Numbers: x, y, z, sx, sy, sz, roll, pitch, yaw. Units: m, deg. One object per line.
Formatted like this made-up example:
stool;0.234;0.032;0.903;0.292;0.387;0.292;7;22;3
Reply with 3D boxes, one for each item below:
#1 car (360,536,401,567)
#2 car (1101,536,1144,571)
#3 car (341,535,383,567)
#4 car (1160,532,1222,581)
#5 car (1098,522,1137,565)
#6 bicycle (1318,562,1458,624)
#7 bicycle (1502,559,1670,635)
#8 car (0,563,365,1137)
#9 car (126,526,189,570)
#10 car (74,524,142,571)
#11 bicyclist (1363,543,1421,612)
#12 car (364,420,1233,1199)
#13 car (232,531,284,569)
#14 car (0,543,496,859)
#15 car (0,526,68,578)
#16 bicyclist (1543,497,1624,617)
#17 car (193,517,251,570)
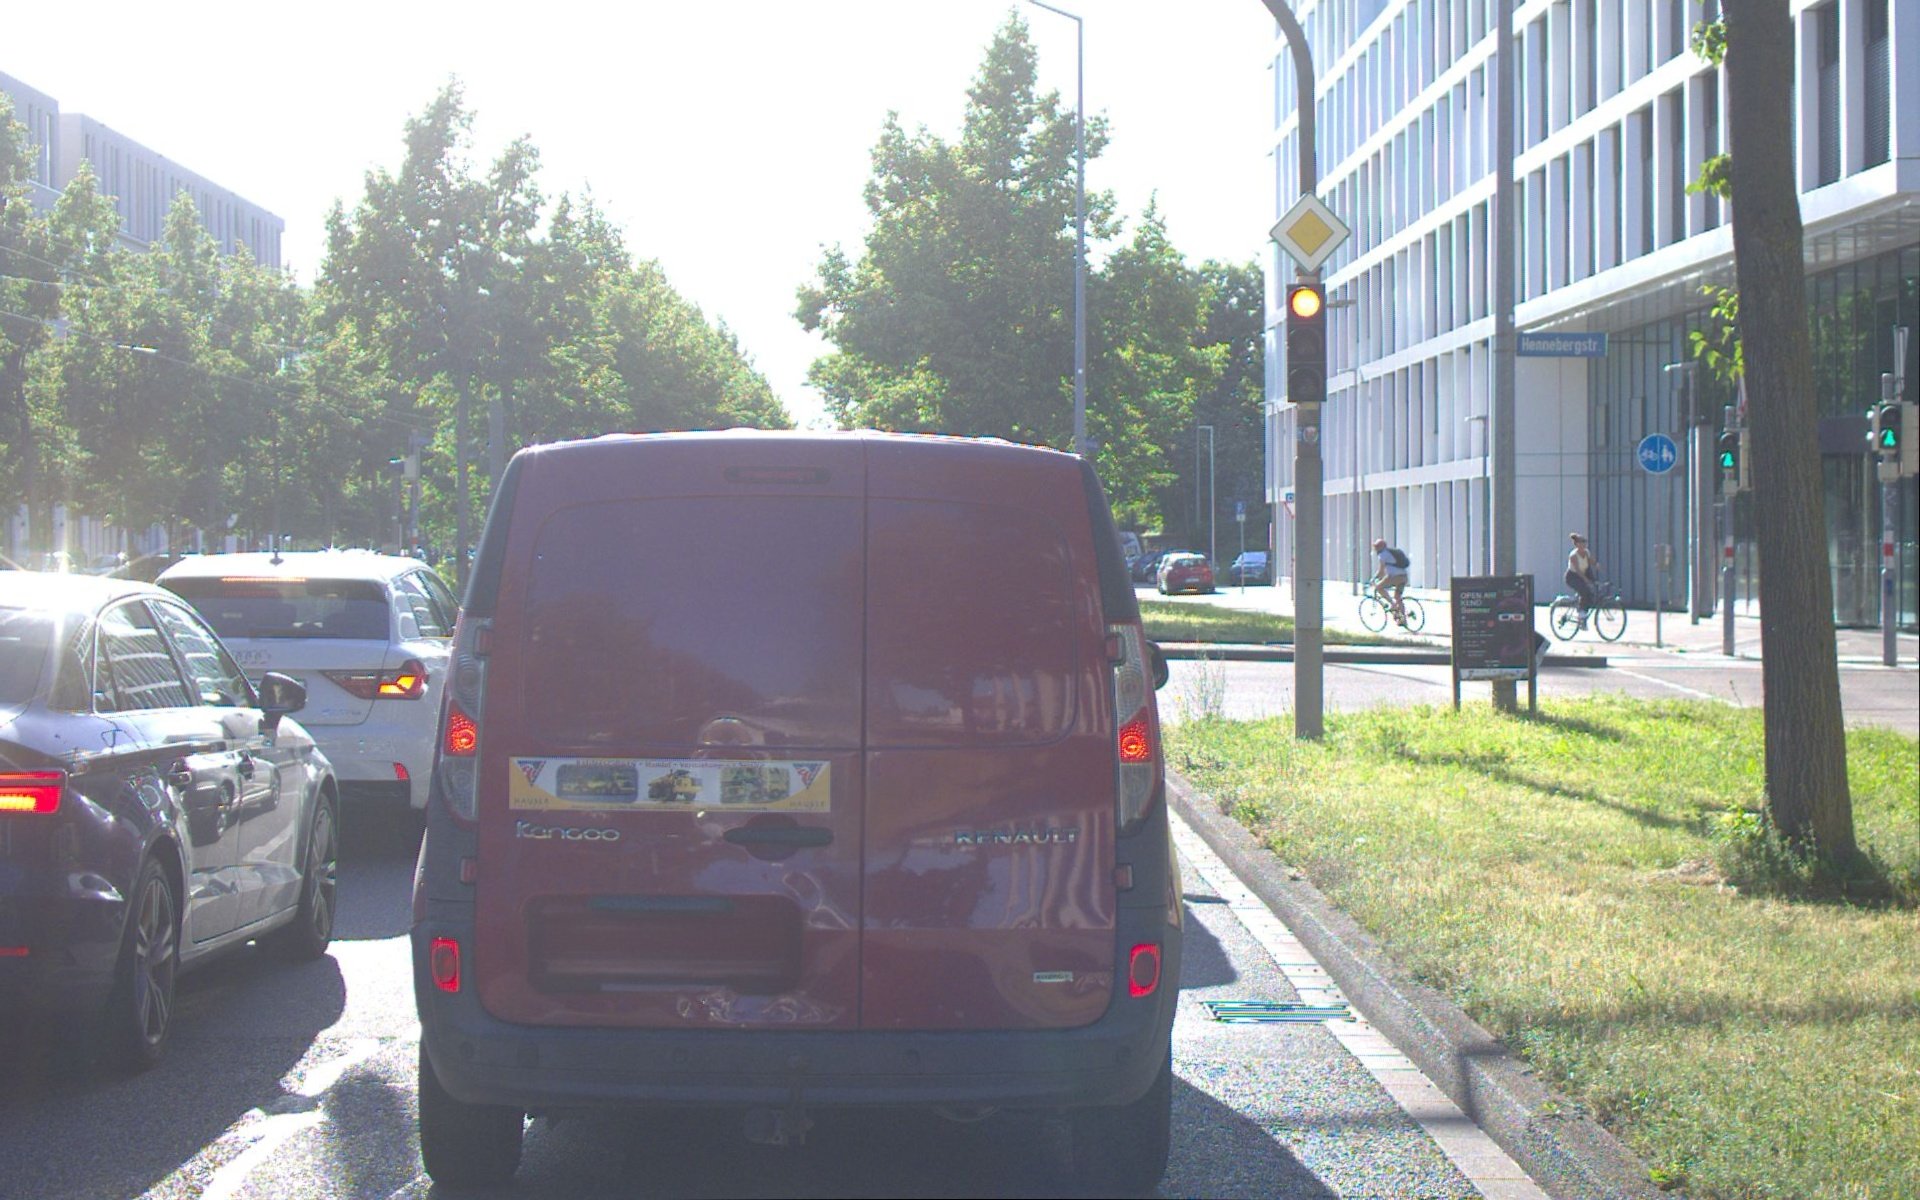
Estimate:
car;-37.546;-3.170;222.866;1.993;2.007;4.000;0;1;-1
car;8.488;-2.438;179.816;1.993;1.776;4.000;0;1;-1
car;-37.756;-3.112;217.242;1.993;2.007;4.000;0;1;-1
car;8.582;-1.625;127.828;1.993;1.776;4.000;0;1;-1
car;9.074;-3.271;198.326;1.993;2.488;4.987;0;1;-1
bicycle;7.892;-0.145;63.535;0.818;1.111;2.845;-1;1;-37
bicycle;10.168;-0.072;55.967;0.815;1.186;2.951;-1;1;-36
car;-3.161;0.615;10.925;1.842;1.421;4.339;0;1;-1
car;-36.964;-2.391;158.424;1.993;2.007;4.000;0;1;-1
car;-36.976;-2.285;149.323;1.993;2.007;4.000;0;1;-1
bicyclist;7.966;-0.421;63.419;0.818;1.270;0.682;-1;1;-37
car;-0.368;0.470;9.310;1.842;1.774;4.000;0;1;-1
car;-37.225;-2.682;182.410;1.993;2.007;4.000;0;1;-1
car;-3.512;0.429;17.579;1.803;1.421;3.901;0;1;-1
car;-36.895;-1.912;136.497;1.993;2.007;4.000;0;1;-1
bicyclist;10.152;-0.707;55.973;0.815;1.940;1.002;-1;1;-36
car;-36.132;-2.771;168.351;1.993;2.598;4.000;0;1;-1
